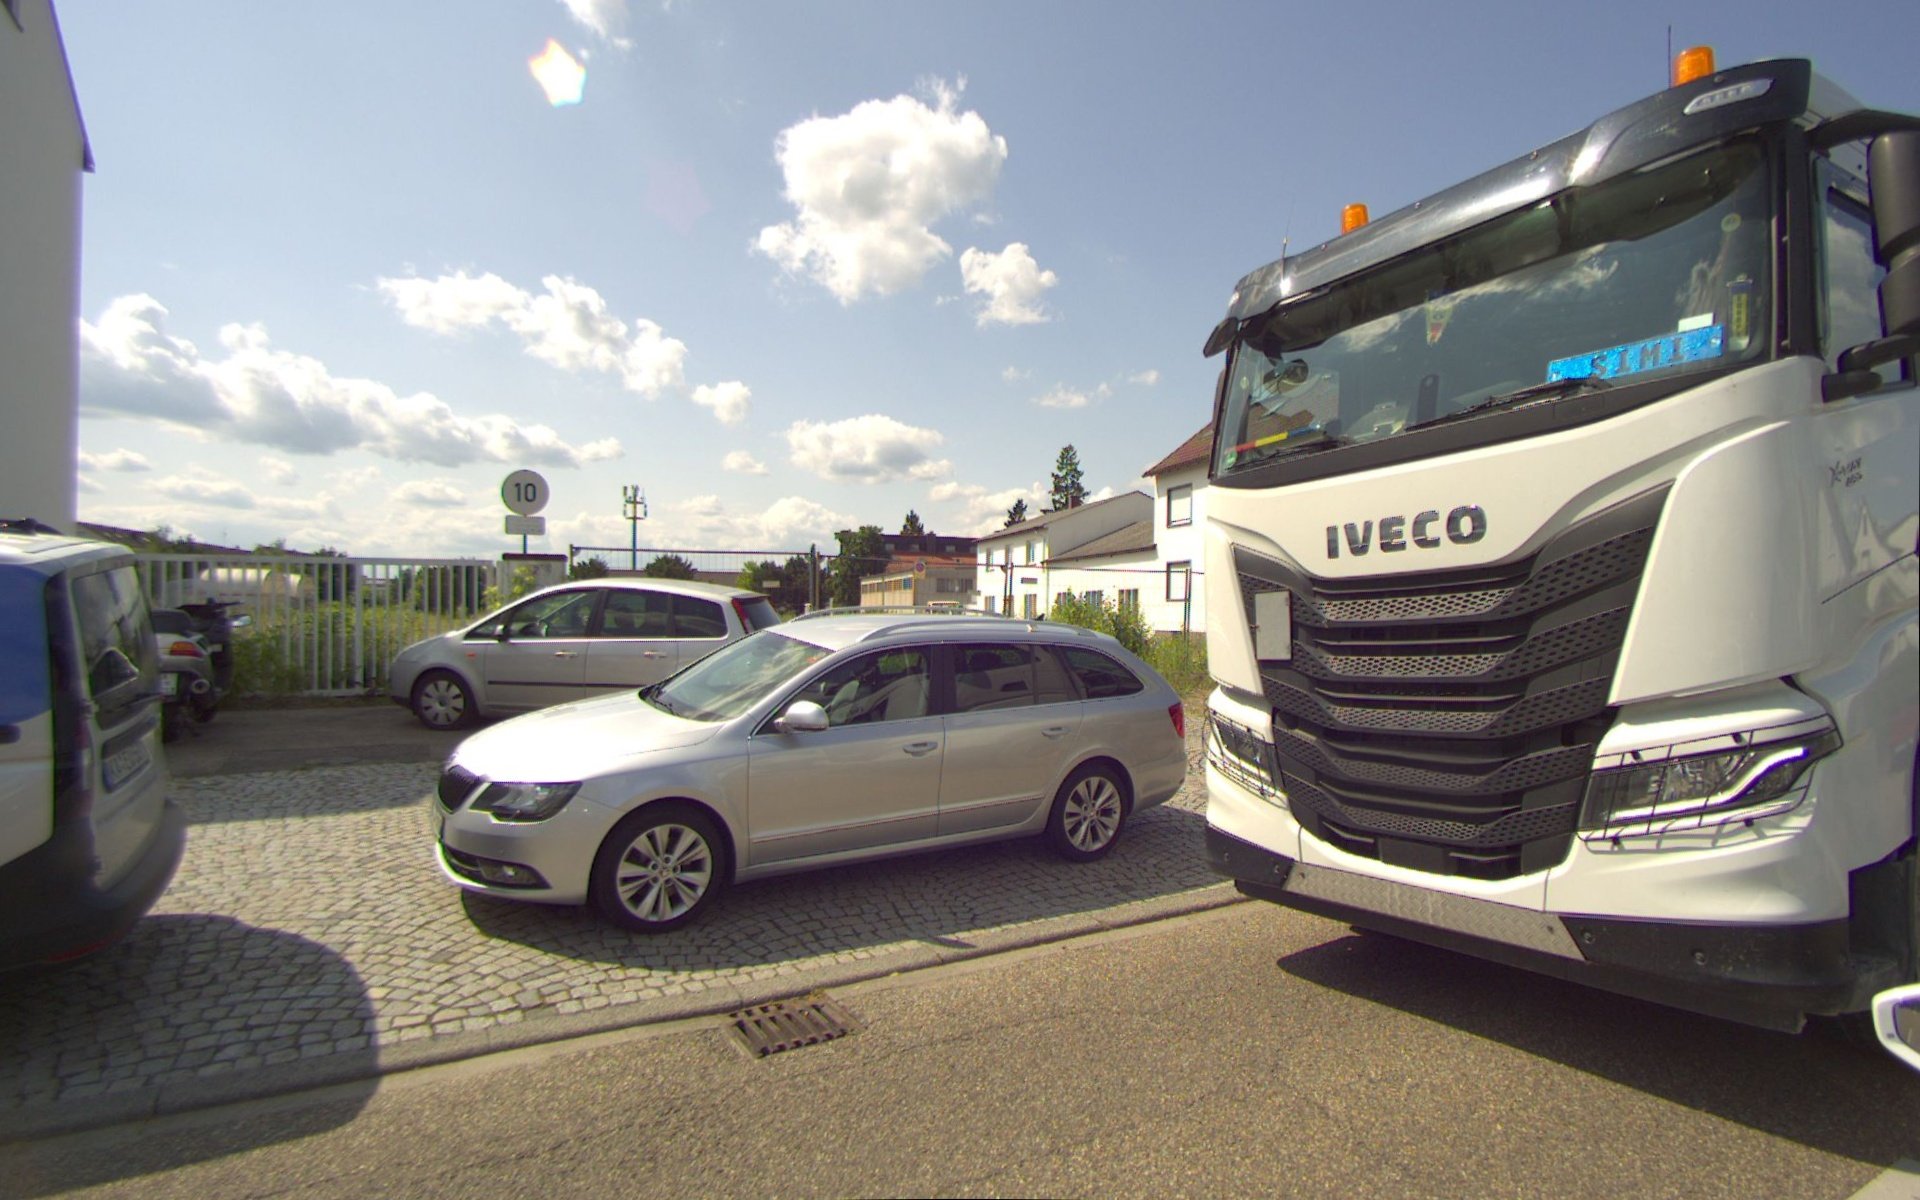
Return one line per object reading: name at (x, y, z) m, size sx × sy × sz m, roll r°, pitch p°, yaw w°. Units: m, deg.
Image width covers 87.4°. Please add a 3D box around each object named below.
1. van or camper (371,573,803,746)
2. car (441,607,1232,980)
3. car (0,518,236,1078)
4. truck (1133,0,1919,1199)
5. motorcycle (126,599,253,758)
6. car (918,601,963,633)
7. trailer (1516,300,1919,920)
van or camper at (-3.847, 0.569, 10.773) m, size 3.919 × 1.563 × 1.782 m, roll 2°, pitch 1°, yaw 5°
car at (-0.568, 0.849, 6.318) m, size 4.659 × 1.481 × 1.738 m, roll 0°, pitch 3°, yaw -34°
car at (-5.063, 0.574, 3.086) m, size 4.441 × 1.830 × 1.800 m, roll 1°, pitch 2°, yaw -32°
truck at (4.021, -0.154, 5.267) m, size 5.817 × 3.545 × 2.758 m, roll 1°, pitch -1°, yaw -32°
motorcycle at (-7.193, 0.663, 9.468) m, size 0.670 × 1.266 × 2.082 m, roll 1°, pitch 1°, yaw -30°
car at (-1.314, 1.123, 66.031) m, size 1.968 × 2.040 × 3.985 m, roll 1°, pitch -1°, yaw -17°
trailer at (8.148, 0.137, 7.995) m, size 8.796 × 3.109 × 2.817 m, roll 1°, pitch -1°, yaw -34°
